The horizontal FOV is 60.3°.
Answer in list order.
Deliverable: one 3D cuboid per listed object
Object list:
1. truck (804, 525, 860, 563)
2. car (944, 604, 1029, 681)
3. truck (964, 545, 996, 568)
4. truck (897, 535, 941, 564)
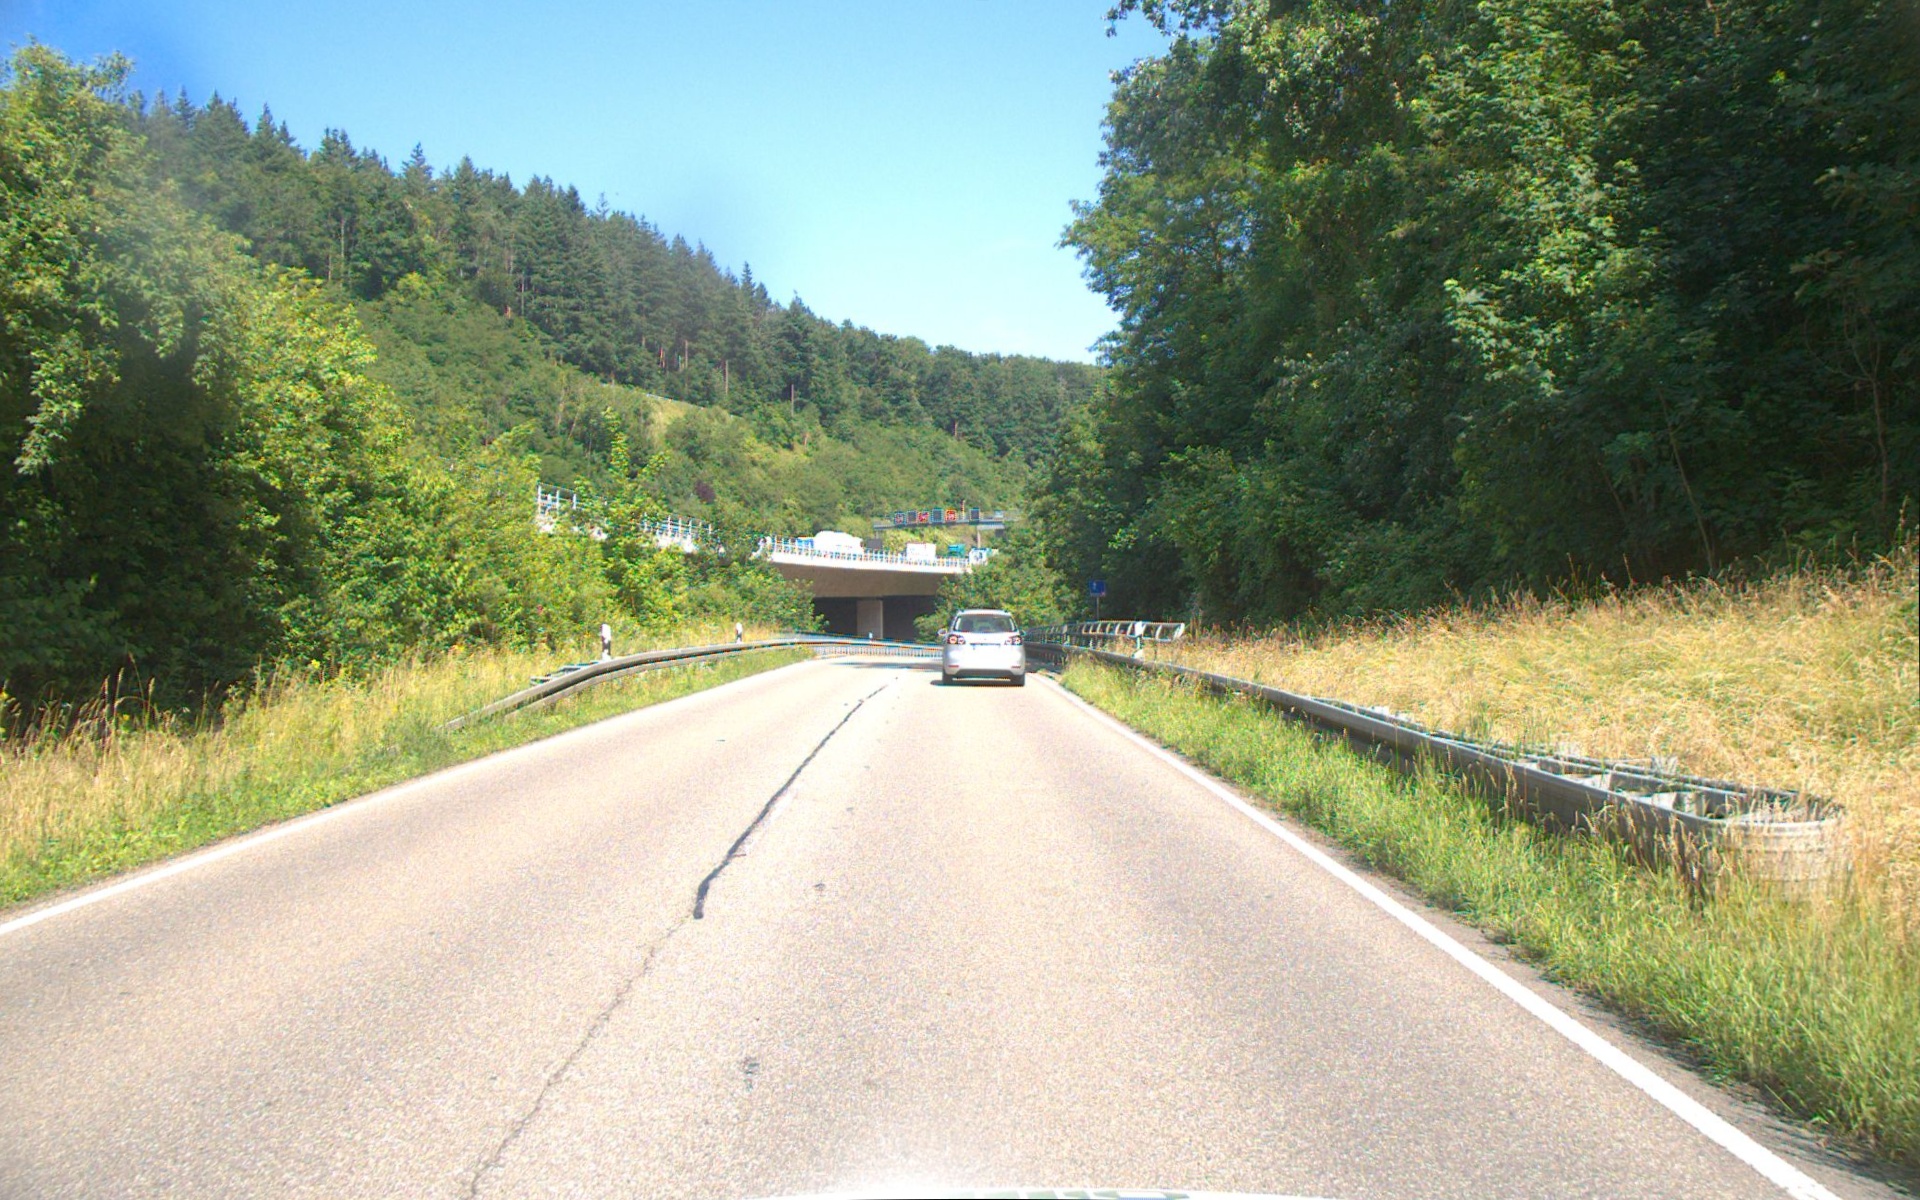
[{"bbox_3d":[-12.923,-5.631,168.164,3.298,3.413,10.184,1,0,10],"label":"truck"},{"bbox_3d":[0.527,0.890,35.370,1.715,1.546,4.158,0,-1,0],"label":"car"},{"bbox_3d":[3.230,-6.835,260.480,3.465,3.483,9.907,0,0,10],"label":"truck"},{"bbox_3d":[-5.278,-6.530,215.877,3.679,3.444,10.516,0,0,10],"label":"truck"}]
